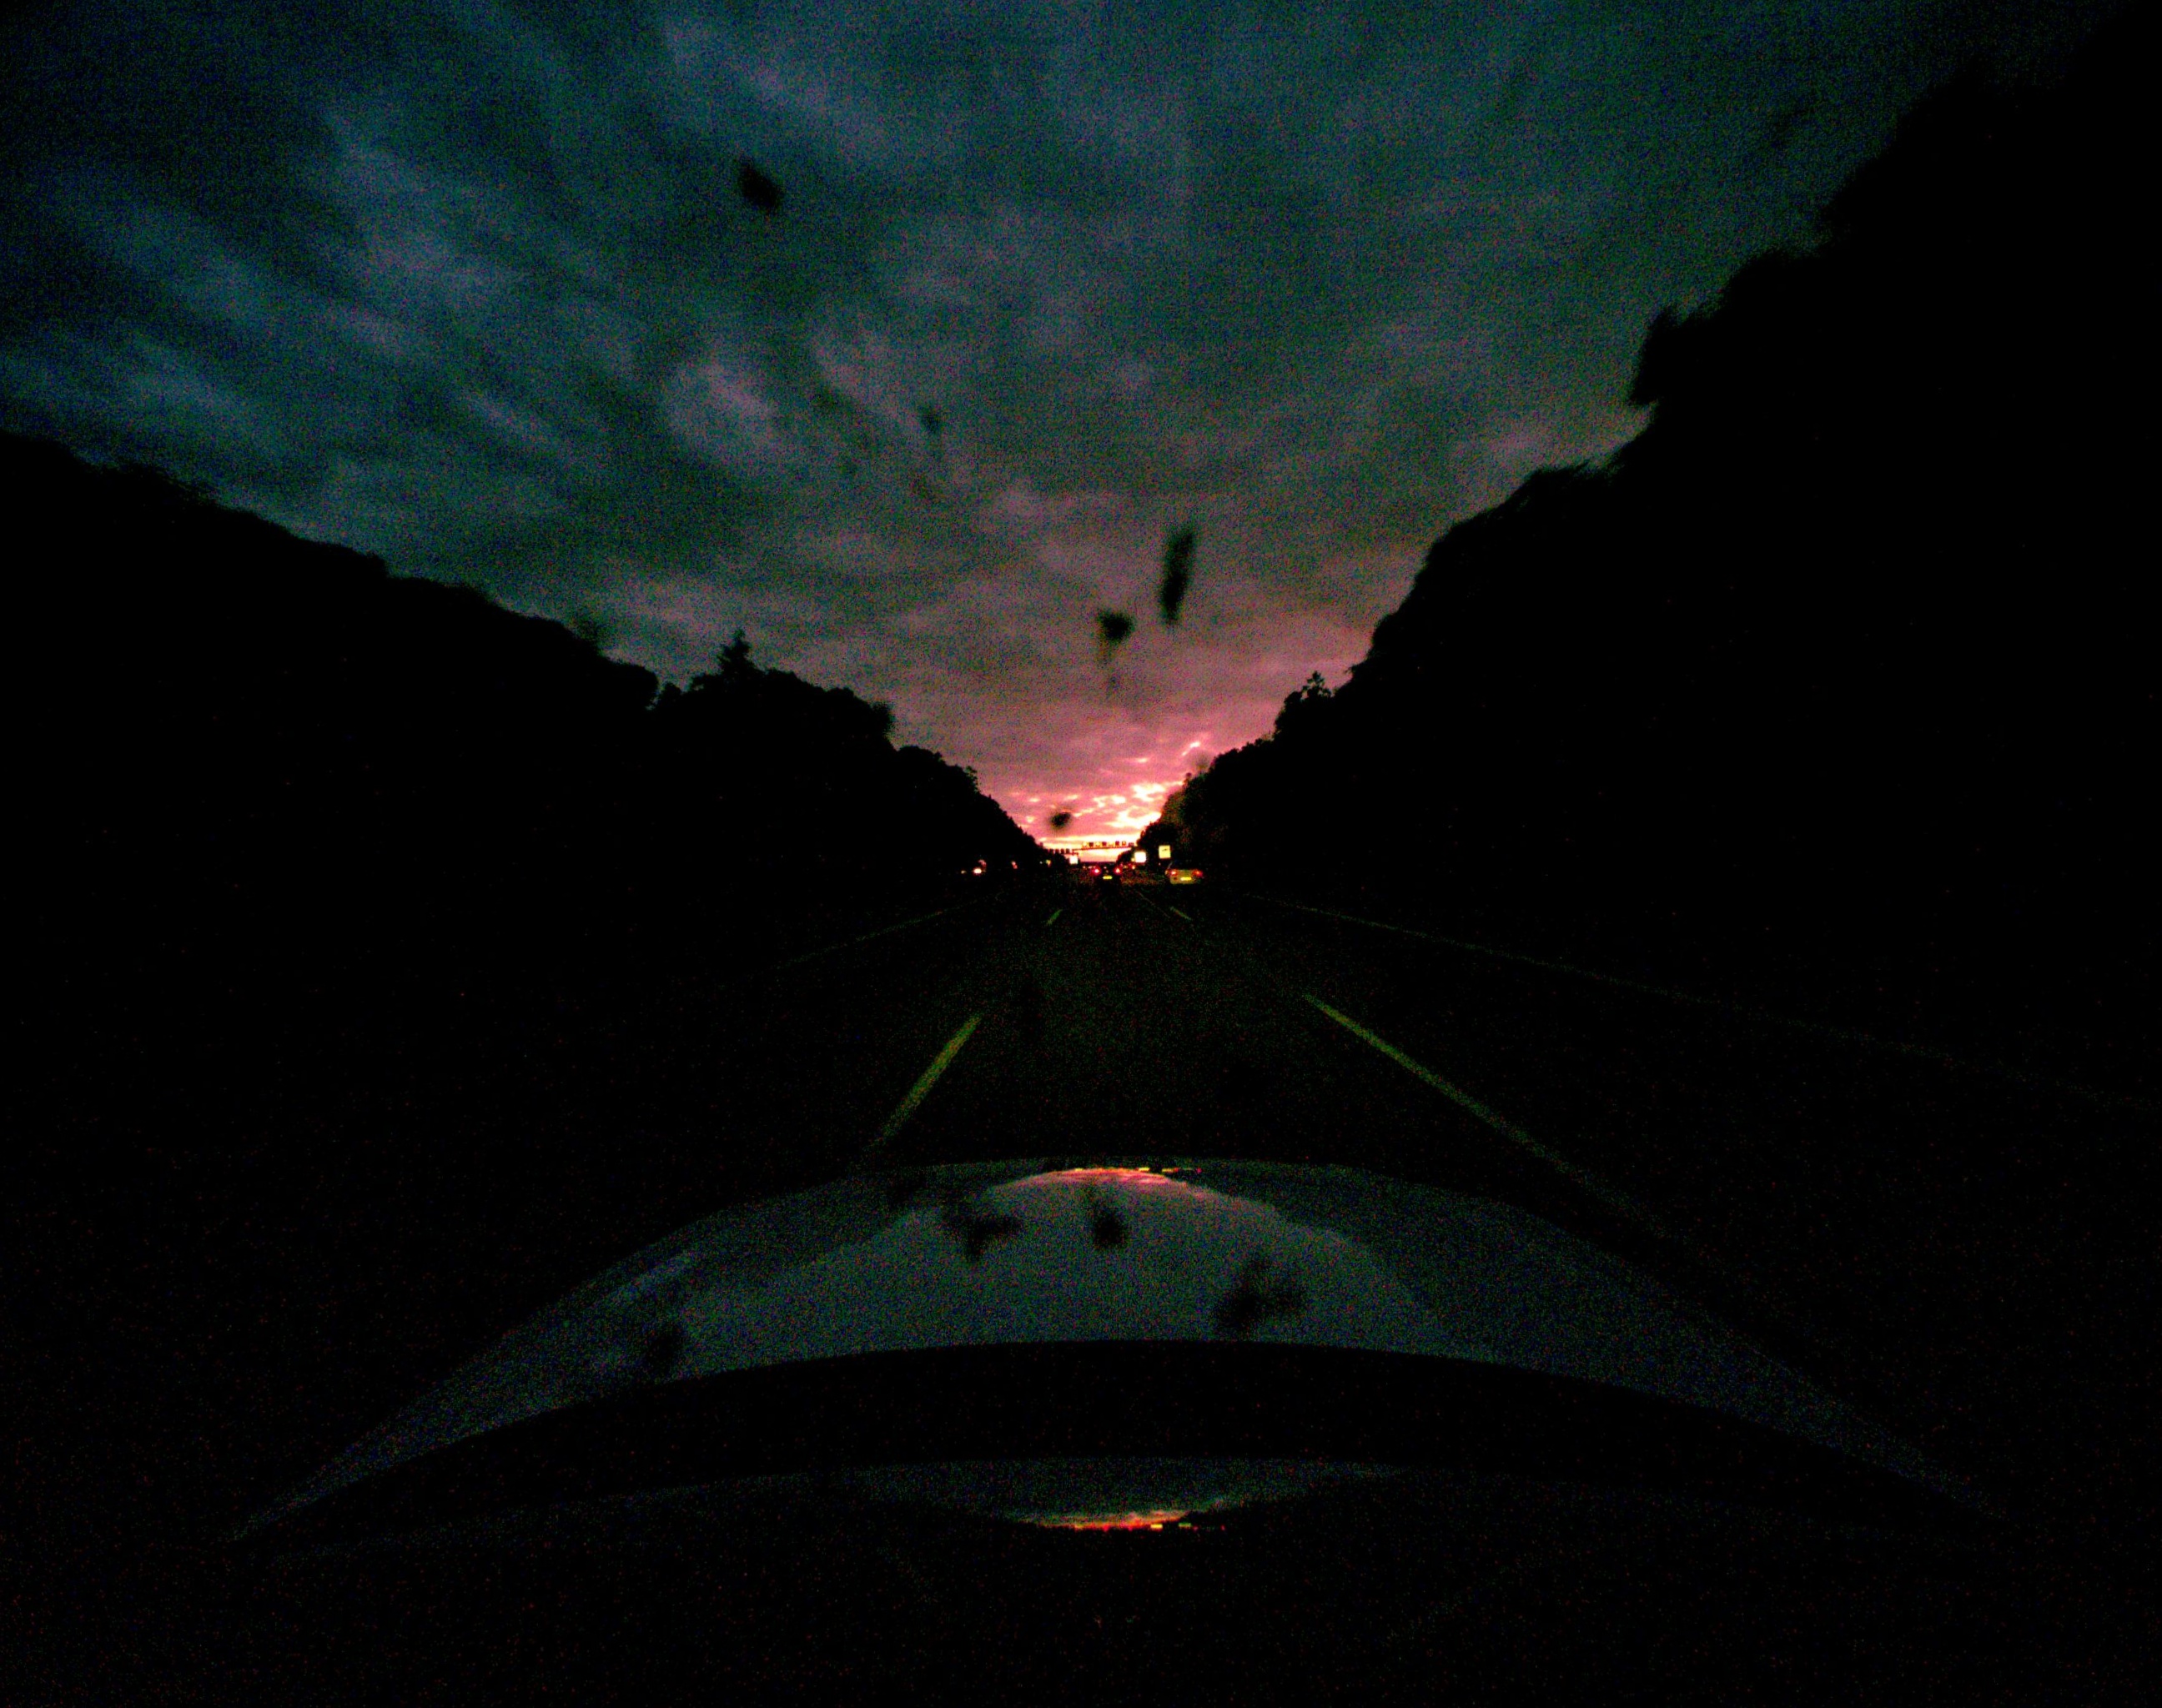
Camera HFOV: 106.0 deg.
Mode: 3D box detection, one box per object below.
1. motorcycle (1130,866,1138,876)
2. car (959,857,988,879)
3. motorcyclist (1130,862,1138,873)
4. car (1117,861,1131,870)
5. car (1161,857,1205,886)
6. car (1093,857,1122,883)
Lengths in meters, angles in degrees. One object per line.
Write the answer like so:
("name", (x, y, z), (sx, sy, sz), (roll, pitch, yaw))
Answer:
("motorcycle", (6.361, 2.019, 98.054), (0.827, 1.134, 2.476), (-2, -1, 1))
("car", (-12.749, 1.630, 97.231), (2.305, 2.484, 7.518), (-2, -1, 0))
("motorcyclist", (6.345, 1.636, 97.876), (0.827, 1.292, 1.190), (-2, -2, 1))
("car", (7.247, 1.972, 137.765), (1.861, 1.494, 4.393), (0, -2, -3))
("car", (5.444, 0.962, 43.919), (1.820, 1.476, 4.396), (0, -2, -1))
("car", (1.601, 1.028, 50.212), (1.697, 1.509, 4.232), (0, -2, 1))
